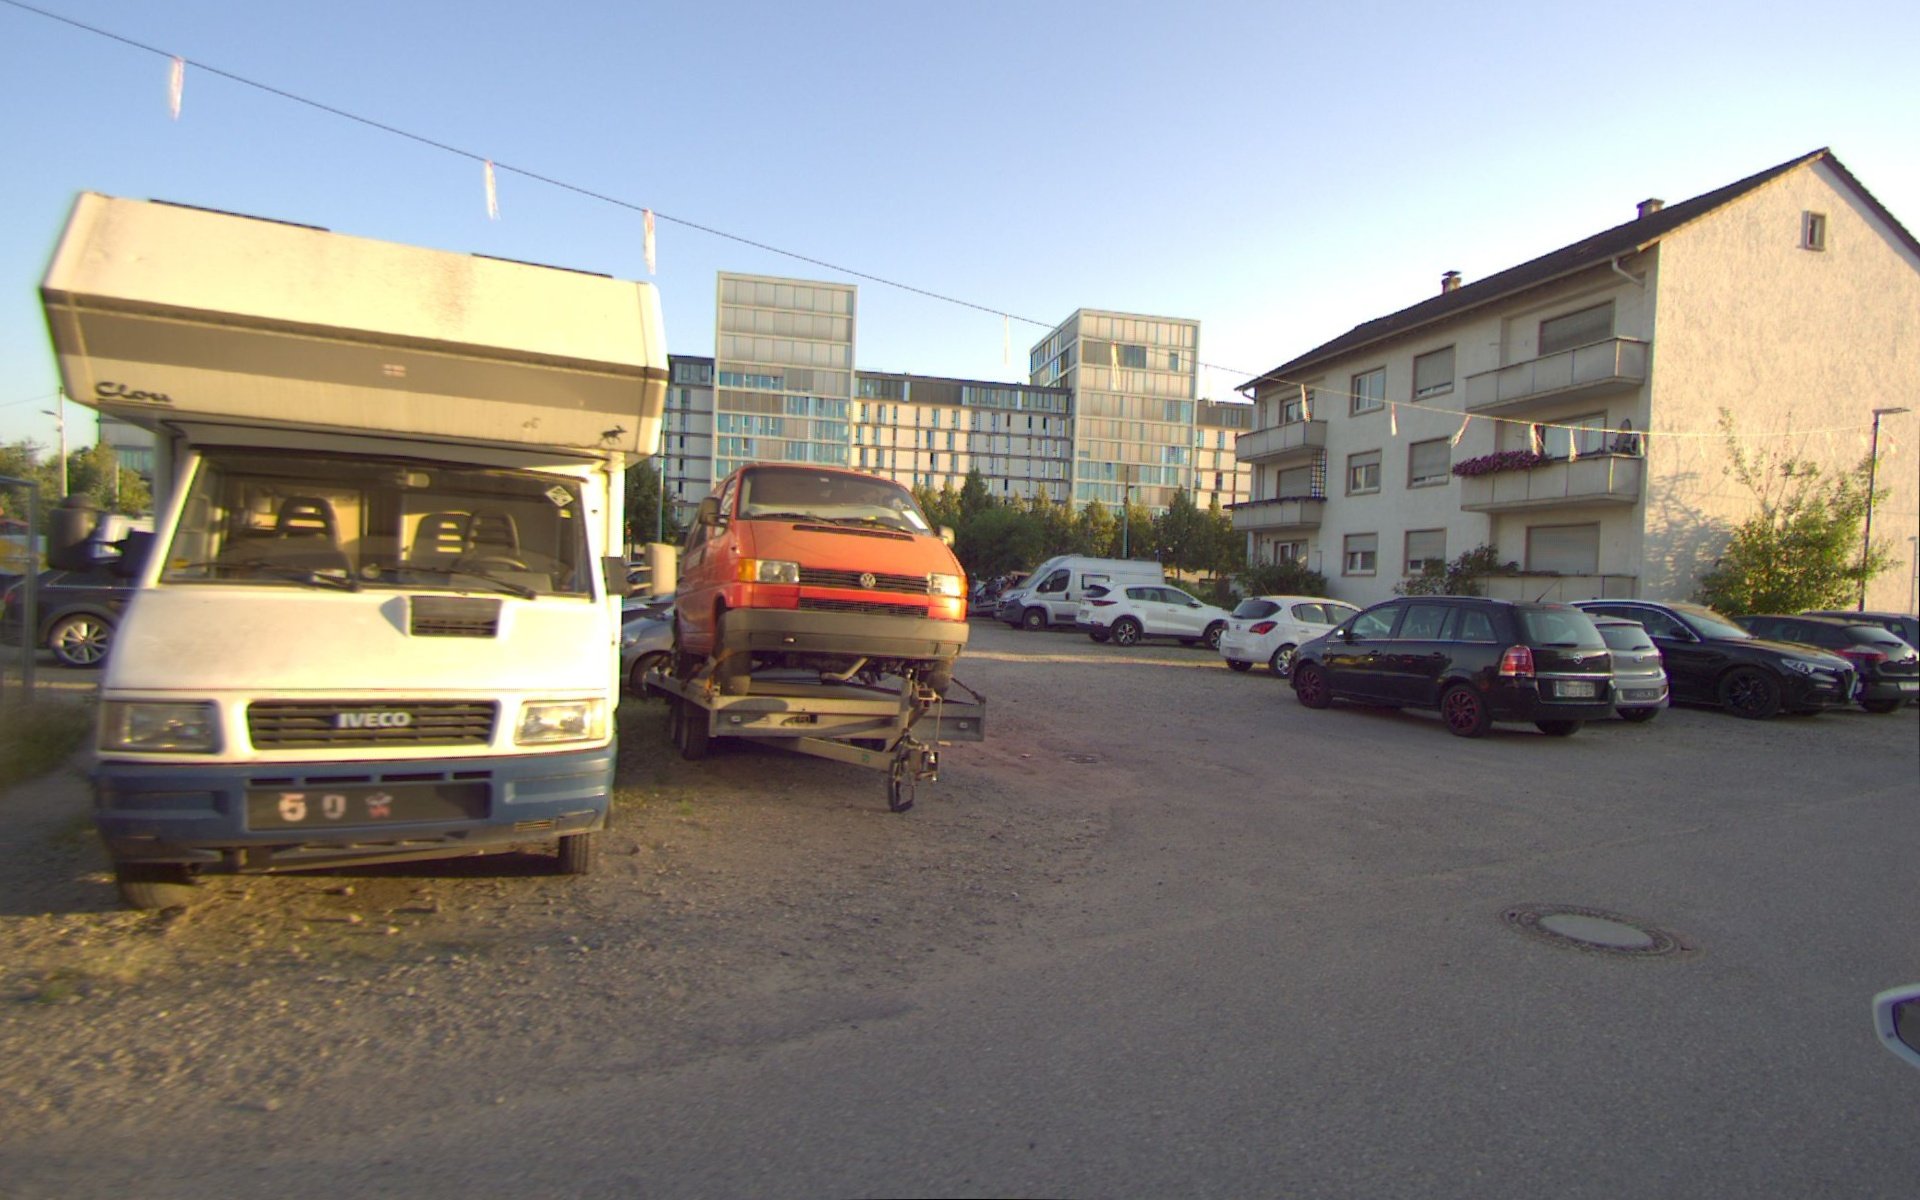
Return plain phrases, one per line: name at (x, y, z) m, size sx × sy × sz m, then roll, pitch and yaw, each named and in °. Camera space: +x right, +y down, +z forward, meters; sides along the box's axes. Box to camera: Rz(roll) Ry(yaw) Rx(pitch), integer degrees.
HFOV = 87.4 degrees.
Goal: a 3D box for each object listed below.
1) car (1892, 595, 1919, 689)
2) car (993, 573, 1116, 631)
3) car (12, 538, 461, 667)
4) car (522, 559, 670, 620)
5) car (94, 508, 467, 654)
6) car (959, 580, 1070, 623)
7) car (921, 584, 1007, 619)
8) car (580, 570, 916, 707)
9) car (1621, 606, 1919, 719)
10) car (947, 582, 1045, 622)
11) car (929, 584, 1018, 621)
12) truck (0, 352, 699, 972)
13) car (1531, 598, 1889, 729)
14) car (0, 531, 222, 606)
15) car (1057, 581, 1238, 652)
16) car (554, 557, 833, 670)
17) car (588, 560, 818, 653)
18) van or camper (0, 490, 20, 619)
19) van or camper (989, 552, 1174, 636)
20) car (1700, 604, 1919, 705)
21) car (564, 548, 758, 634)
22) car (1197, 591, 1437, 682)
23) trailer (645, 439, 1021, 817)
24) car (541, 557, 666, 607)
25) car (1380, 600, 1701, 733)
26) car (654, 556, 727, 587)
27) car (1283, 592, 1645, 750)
car at (21.576, 0.996, 20.143) m, size 1.732 × 1.937 × 3.897 m, roll 1°, pitch 3°, yaw -36°
car at (3.241, 0.068, 34.686) m, size 3.873 × 1.831 × 1.556 m, roll 2°, pitch 1°, yaw -14°
car at (-9.789, -0.006, 14.125) m, size 4.748 × 1.589 × 1.840 m, roll 0°, pitch 2°, yaw -21°
car at (-10.509, -0.297, 29.024) m, size 3.884 × 1.543 × 1.674 m, roll 2°, pitch 1°, yaw -24°
car at (-10.981, -0.323, 16.684) m, size 4.746 × 2.178 × 1.841 m, roll 0°, pitch 2°, yaw -19°
car at (2.040, 0.049, 37.811) m, size 3.873 × 1.566 × 1.556 m, roll 0°, pitch 1°, yaw -14°
car at (0.164, 0.079, 45.649) m, size 3.594 × 1.427 × 1.483 m, roll 2°, pitch 1°, yaw -14°
car at (-2.732, 0.473, 12.919) m, size 3.885 × 1.543 × 1.838 m, roll 2°, pitch 1°, yaw -25°
car at (13.657, 0.972, 16.961) m, size 1.618 × 1.536 × 3.920 m, roll 3°, pitch 1°, yaw -20°
car at (1.422, 0.077, 40.145) m, size 3.594 × 1.427 × 1.483 m, roll 2°, pitch 1°, yaw -14°
car at (0.587, 0.089, 43.698) m, size 3.594 × 1.427 × 1.483 m, roll 2°, pitch 1°, yaw -14°
truck at (-3.521, 0.157, 6.549) m, size 2.325 × 2.070 × 5.990 m, roll 2°, pitch 1°, yaw -26°
car at (11.367, 0.841, 15.563) m, size 1.797 × 1.650 × 4.075 m, roll 0°, pitch 2°, yaw -26°
car at (-25.658, -0.930, 30.280) m, size 5.021 × 1.962 × 2.051 m, roll 2°, pitch 1°, yaw -15°
car at (4.908, 0.421, 26.477) m, size 4.243 × 1.653 × 1.844 m, roll 2°, pitch 1°, yaw -14°
car at (-4.130, 0.213, 15.548) m, size 3.885 × 1.543 × 1.838 m, roll 2°, pitch 1°, yaw -25°
car at (-4.813, 0.126, 18.790) m, size 3.884 × 1.543 × 1.838 m, roll 2°, pitch 1°, yaw -24°
van or camper at (-22.857, -1.054, 19.948) m, size 5.656 × 2.744 × 2.201 m, roll 2°, pitch 1°, yaw -17°
van or camper at (3.910, -0.179, 32.438) m, size 5.588 × 2.425 × 1.844 m, roll 2°, pitch 1°, yaw -14°
car at (16.399, 0.952, 18.744) m, size 1.618 × 1.601 × 3.920 m, roll 1°, pitch 1°, yaw -20°
car at (-6.626, -0.189, 22.253) m, size 3.884 × 1.691 × 1.838 m, roll 2°, pitch 1°, yaw -24°
car at (6.886, 0.697, 19.462) m, size 4.085 × 1.543 × 1.842 m, roll 2°, pitch 1°, yaw -18°
trailer at (-1.502, 0.139, 9.155) m, size 2.104 × 2.465 × 4.781 m, roll 3°, pitch 1°, yaw -22°
car at (-15.051, -0.766, 42.634) m, size 4.755 × 1.867 × 1.680 m, roll 2°, pitch 1°, yaw -14°
car at (8.463, 0.861, 15.075) m, size 1.781 × 1.541 × 3.919 m, roll 1°, pitch 2°, yaw -20°
car at (-15.199, -1.591, 56.771) m, size 3.873 × 1.560 × 1.658 m, roll 2°, pitch 1°, yaw -15°
car at (6.272, 0.783, 13.079) m, size 1.821 × 1.641 × 4.030 m, roll 2°, pitch 1°, yaw -20°
